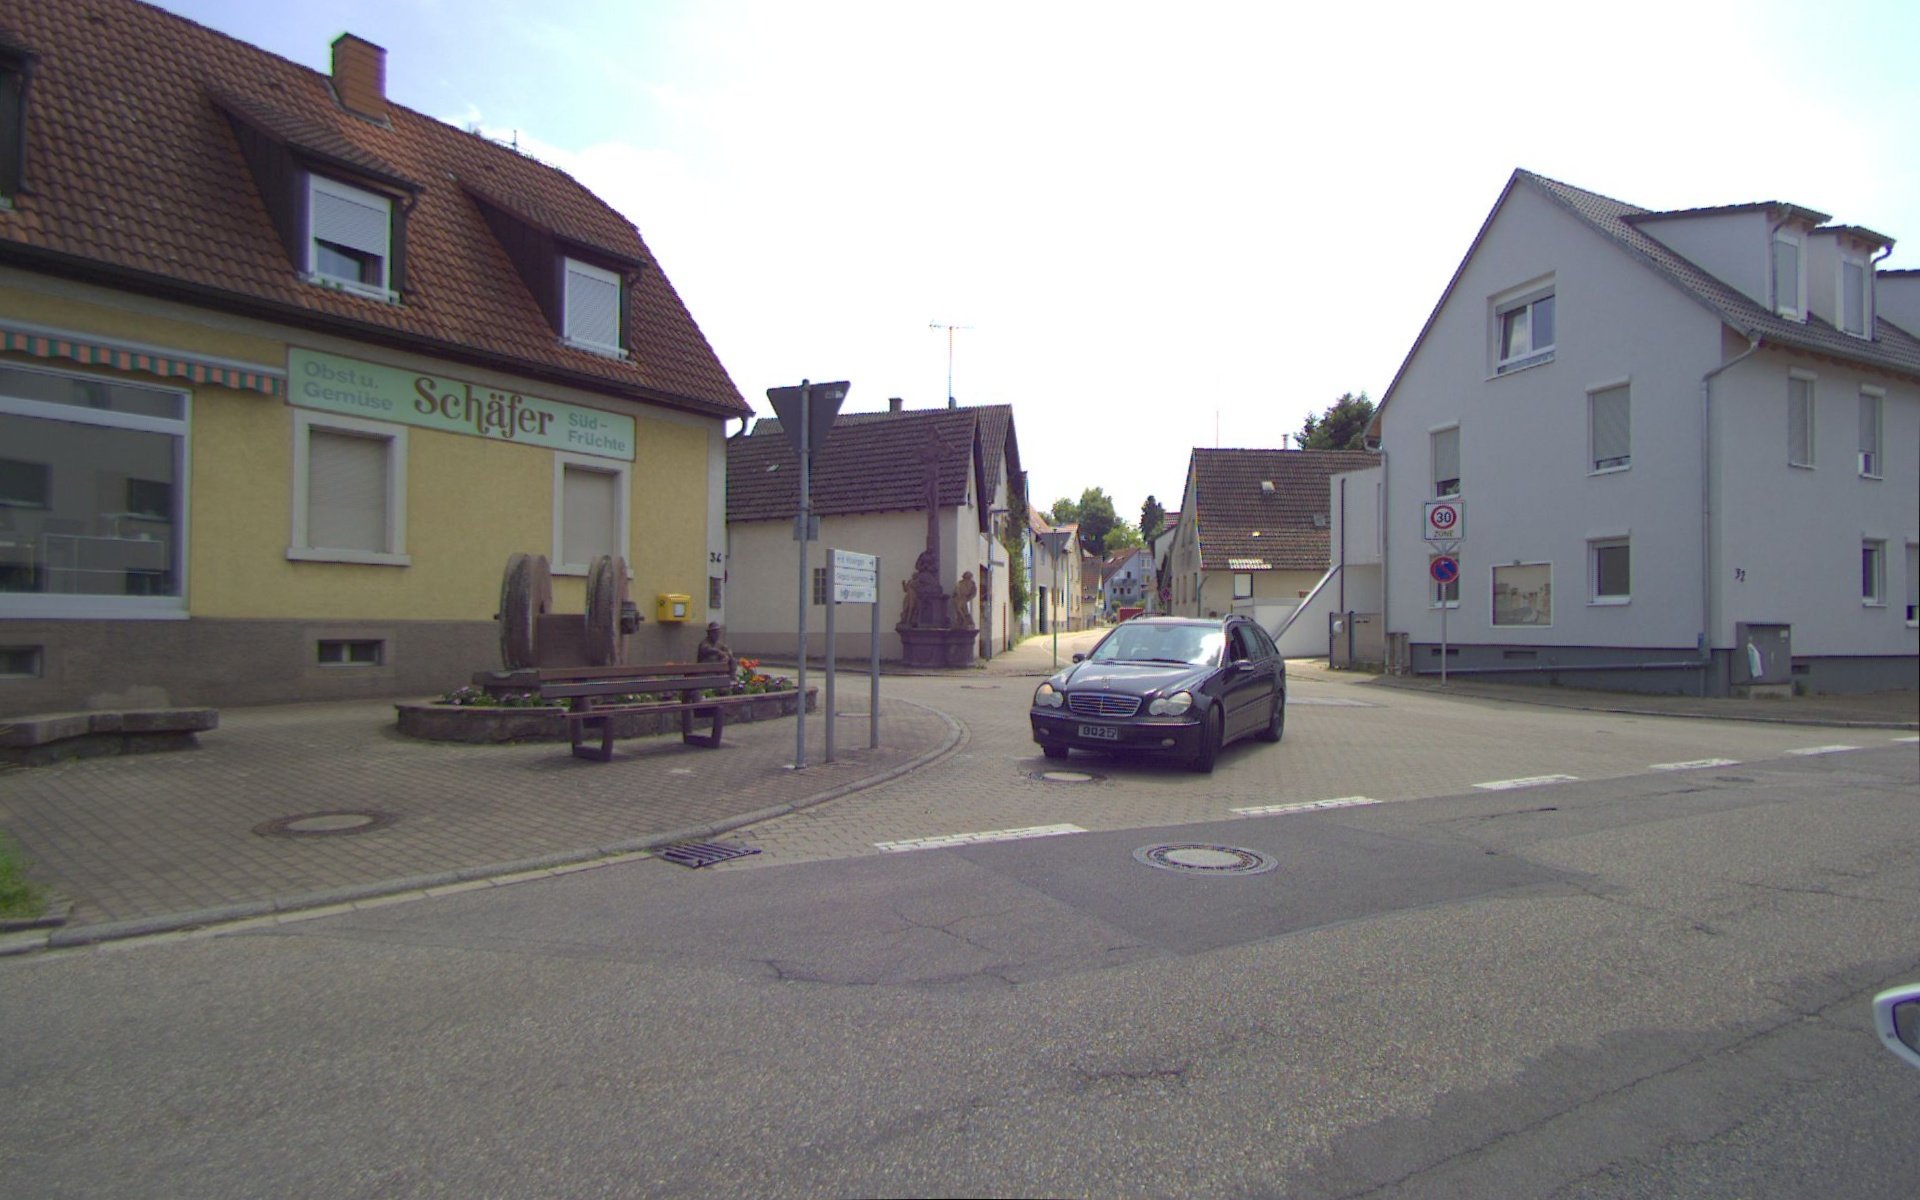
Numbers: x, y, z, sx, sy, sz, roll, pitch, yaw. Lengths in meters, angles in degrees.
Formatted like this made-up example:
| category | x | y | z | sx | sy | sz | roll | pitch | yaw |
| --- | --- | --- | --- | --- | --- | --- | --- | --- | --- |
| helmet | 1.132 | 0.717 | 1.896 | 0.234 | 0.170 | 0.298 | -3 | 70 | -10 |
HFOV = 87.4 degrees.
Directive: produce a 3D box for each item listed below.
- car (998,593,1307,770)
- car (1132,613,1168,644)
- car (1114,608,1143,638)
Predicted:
| category | x | y | z | sx | sy | sz | roll | pitch | yaw |
| --- | --- | --- | --- | --- | --- | --- | --- | --- | --- |
| car | 2.299 | 0.773 | 10.732 | 1.782 | 1.430 | 4.628 | 1 | -2 | 30 |
| car | 10.215 | 1.540 | 54.135 | 1.461 | 1.550 | 3.478 | 2 | -2 | 4 |
| car | 10.116 | 1.402 | 60.556 | 1.369 | 1.656 | 3.478 | 2 | -2 | 4 |
